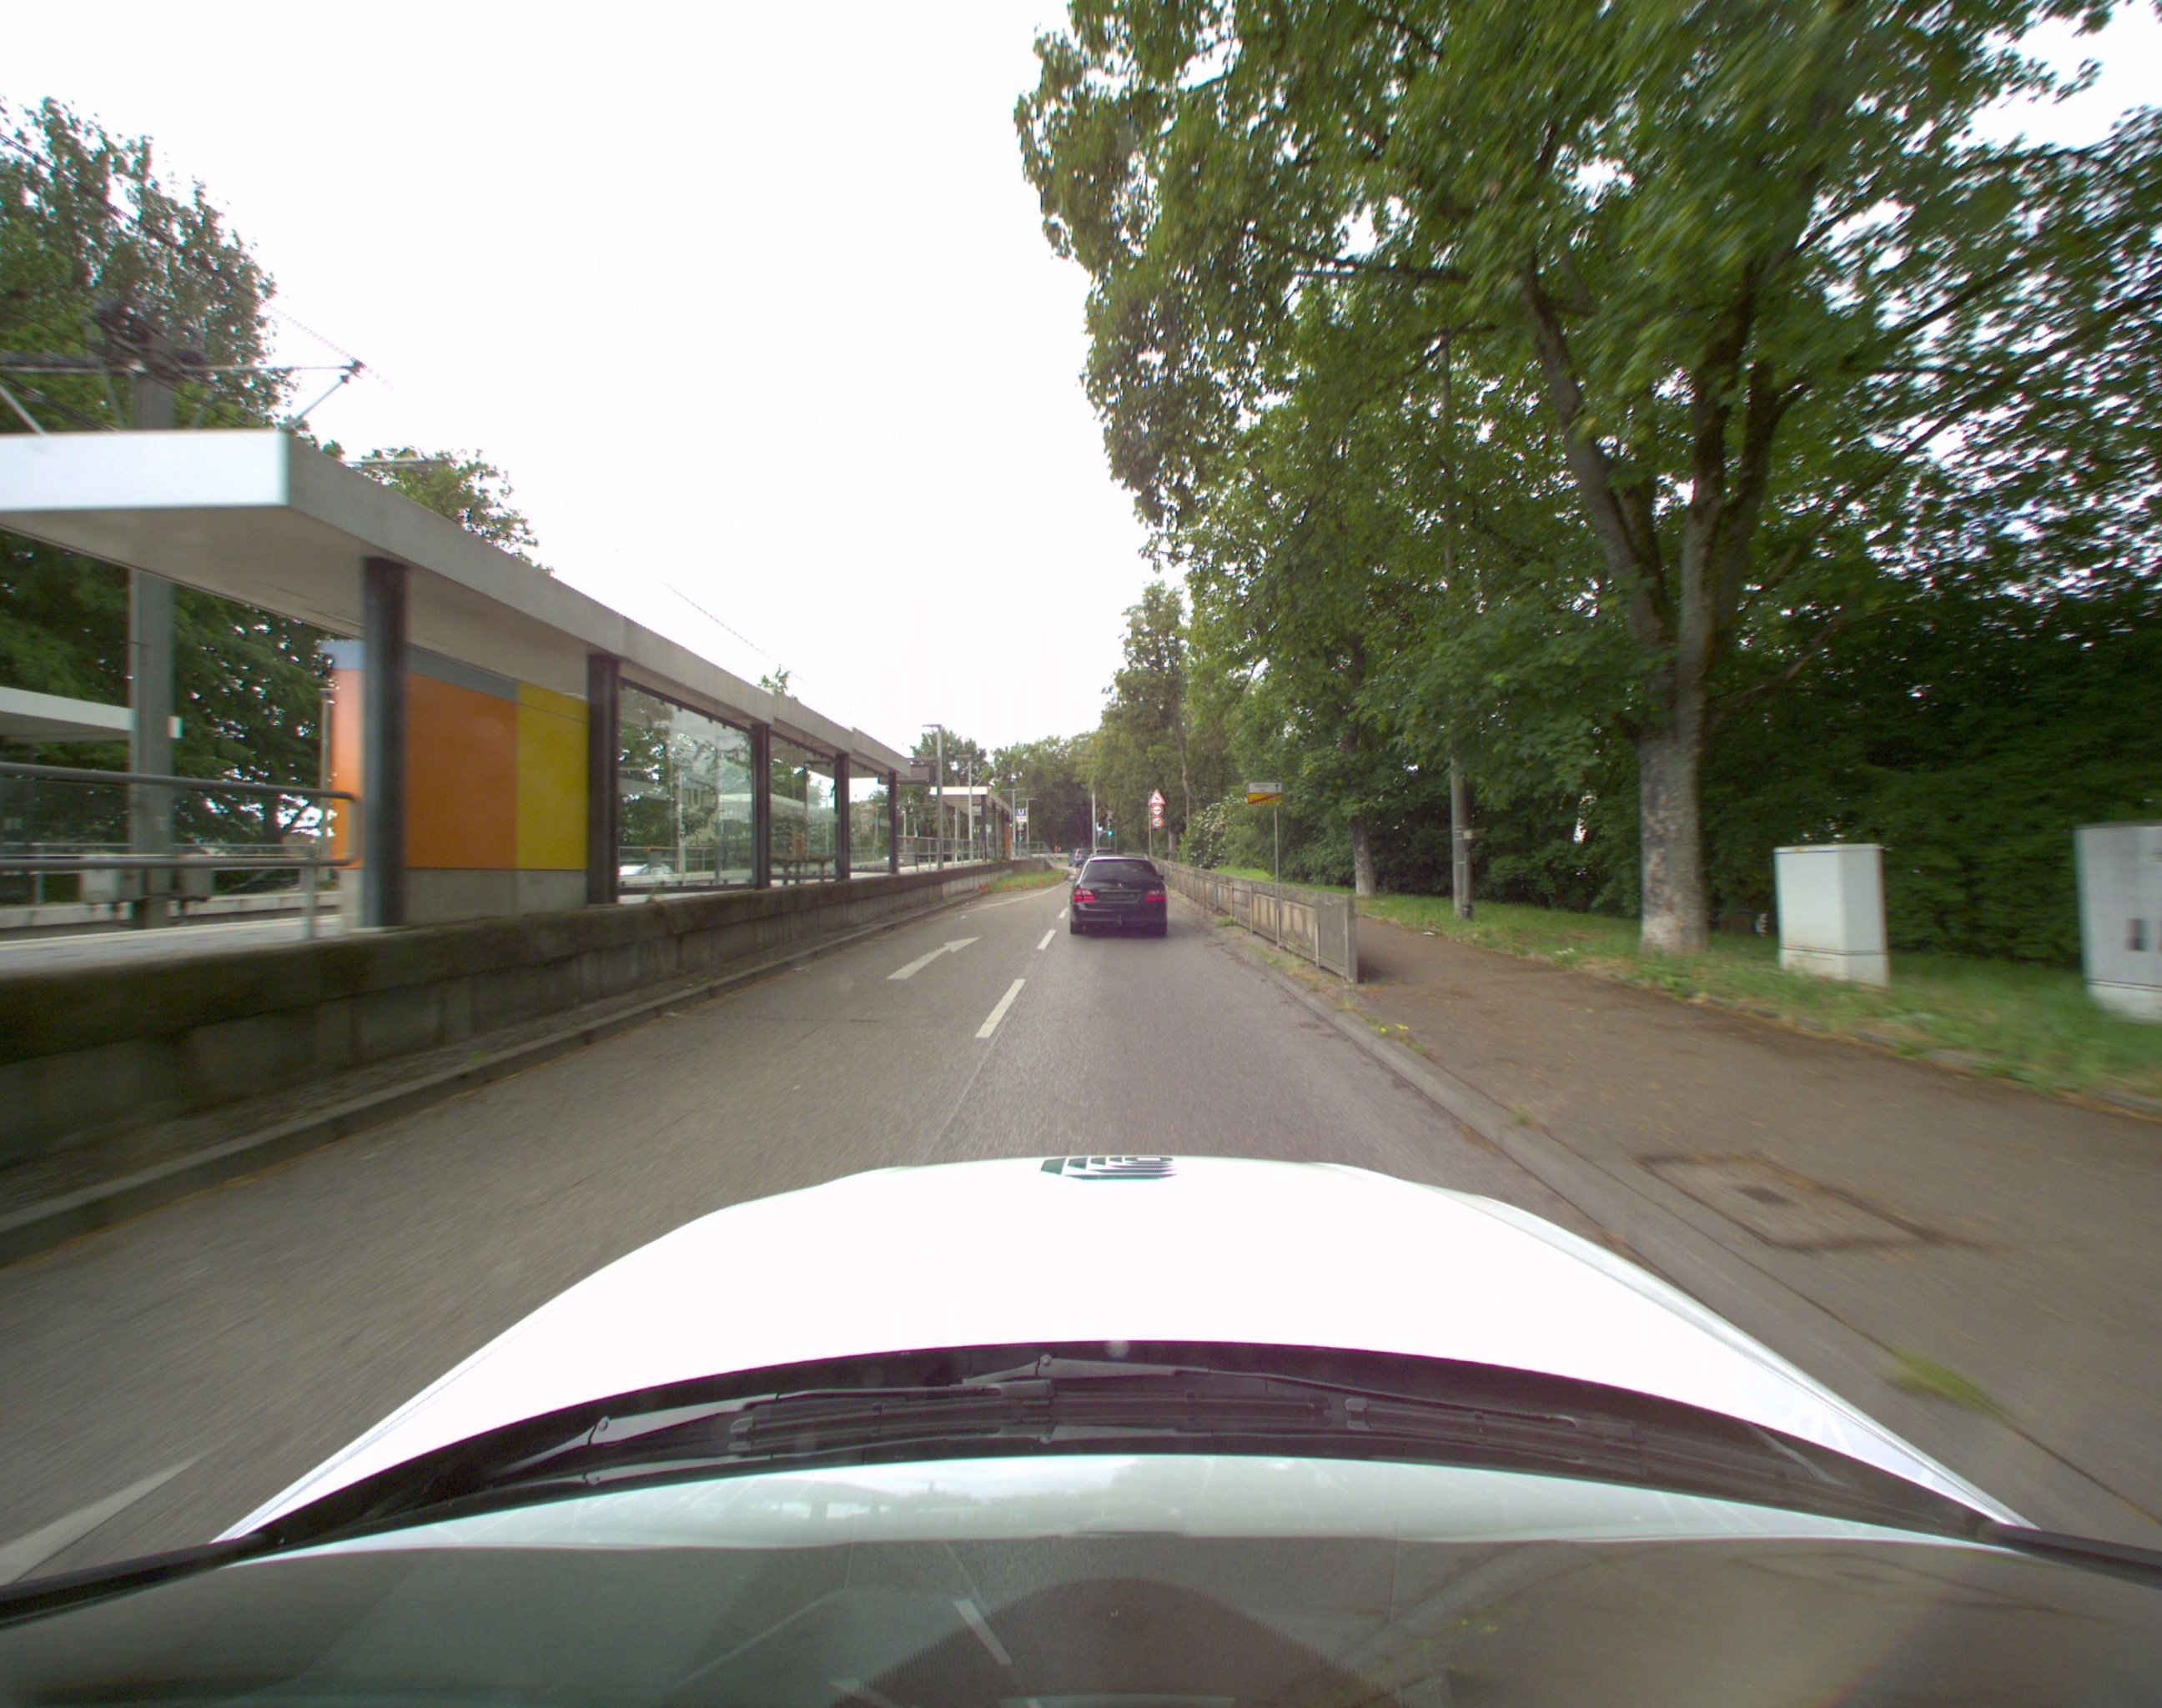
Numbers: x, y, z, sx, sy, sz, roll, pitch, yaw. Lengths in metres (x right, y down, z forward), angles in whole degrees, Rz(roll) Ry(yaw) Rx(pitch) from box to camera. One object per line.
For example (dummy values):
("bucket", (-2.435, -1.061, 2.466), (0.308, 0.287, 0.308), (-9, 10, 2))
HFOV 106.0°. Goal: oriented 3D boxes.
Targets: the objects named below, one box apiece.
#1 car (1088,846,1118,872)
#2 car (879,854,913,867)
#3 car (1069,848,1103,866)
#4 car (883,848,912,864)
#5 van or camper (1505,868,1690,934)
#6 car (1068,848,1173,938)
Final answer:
("car", (1.422, 0.317, 54.091), (1.777, 1.648, 3.997), (0, 0, -2))
("car", (-21.241, 0.749, 93.547), (3.950, 1.399, 2.012), (0, 1, 44))
("car", (0.398, 0.215, 64.486), (1.994, 1.399, 3.986), (-1, 1, -10))
("car", (-21.101, 0.234, 93.688), (3.349, 1.706, 1.623), (0, -2, 44))
("van or camper", (17.342, 1.500, 27.829), (2.175, 2.014, 5.825), (1, -1, -7))
("car", (0.716, 0.662, 15.989), (1.775, 1.525, 4.001), (1, 0, 1))
